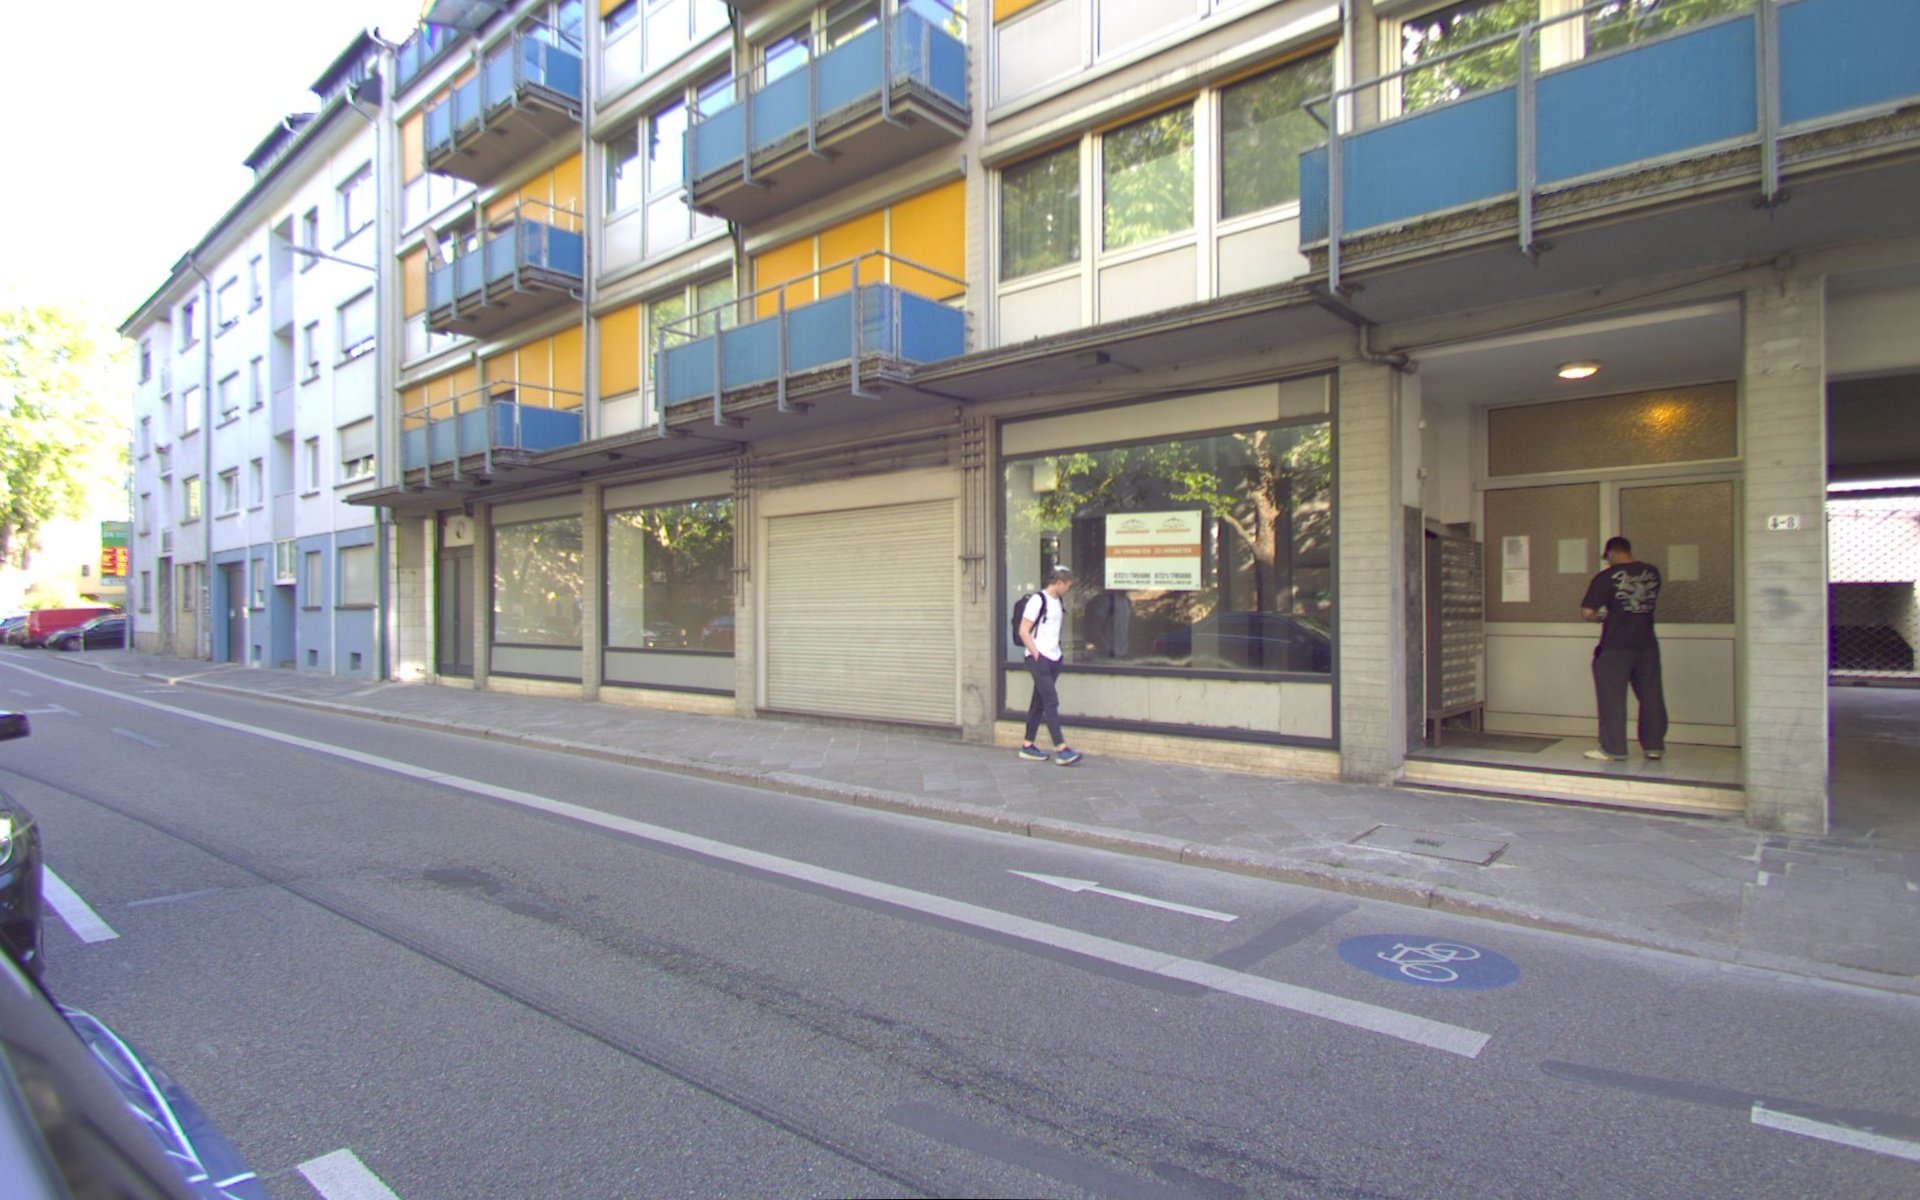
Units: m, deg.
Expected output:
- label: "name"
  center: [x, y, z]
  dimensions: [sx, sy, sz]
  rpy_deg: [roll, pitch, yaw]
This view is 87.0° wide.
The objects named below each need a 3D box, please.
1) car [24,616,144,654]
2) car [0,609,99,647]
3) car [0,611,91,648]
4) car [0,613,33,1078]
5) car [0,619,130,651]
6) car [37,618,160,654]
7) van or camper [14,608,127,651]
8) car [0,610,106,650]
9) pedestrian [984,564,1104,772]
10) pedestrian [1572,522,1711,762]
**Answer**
- label: "car"
  center: [-41.626, 1.618, 48.155]
  dimensions: [1.999, 1.703, 4.093]
  rpy_deg: [-1, -1, 41]
- label: "car"
  center: [-55.396, 1.669, 61.139]
  dimensions: [1.999, 2.210, 4.927]
  rpy_deg: [-1, -1, 41]
- label: "car"
  center: [-57.389, 1.819, 62.848]
  dimensions: [1.999, 2.210, 4.927]
  rpy_deg: [-1, -1, 41]
- label: "car"
  center: [-5.011, 0.810, 3.856]
  dimensions: [3.861, 1.467, 1.718]
  rpy_deg: [-1, -1, 40]
- label: "car"
  center: [-45.715, 1.749, 51.689]
  dimensions: [1.999, 1.506, 4.927]
  rpy_deg: [-1, -1, 41]
- label: "car"
  center: [-39.746, 1.630, 46.770]
  dimensions: [1.999, 1.506, 4.093]
  rpy_deg: [-1, -1, 41]
- label: "van or camper"
  center: [-43.882, 1.429, 49.997]
  dimensions: [1.999, 2.029, 3.946]
  rpy_deg: [-1, -1, 40]
- label: "car"
  center: [-53.308, 1.734, 59.188]
  dimensions: [1.999, 2.210, 4.927]
  rpy_deg: [-1, -1, 41]
- label: "pedestrian"
  center: [0.769, 0.595, 9.344]
  dimensions: [0.879, 1.813, 0.593]
  rpy_deg: [-1, 0, 42]
- label: "pedestrian"
  center: [5.140, 0.301, 7.652]
  dimensions: [0.650, 1.726, 0.550]
  rpy_deg: [0, -1, -16]
